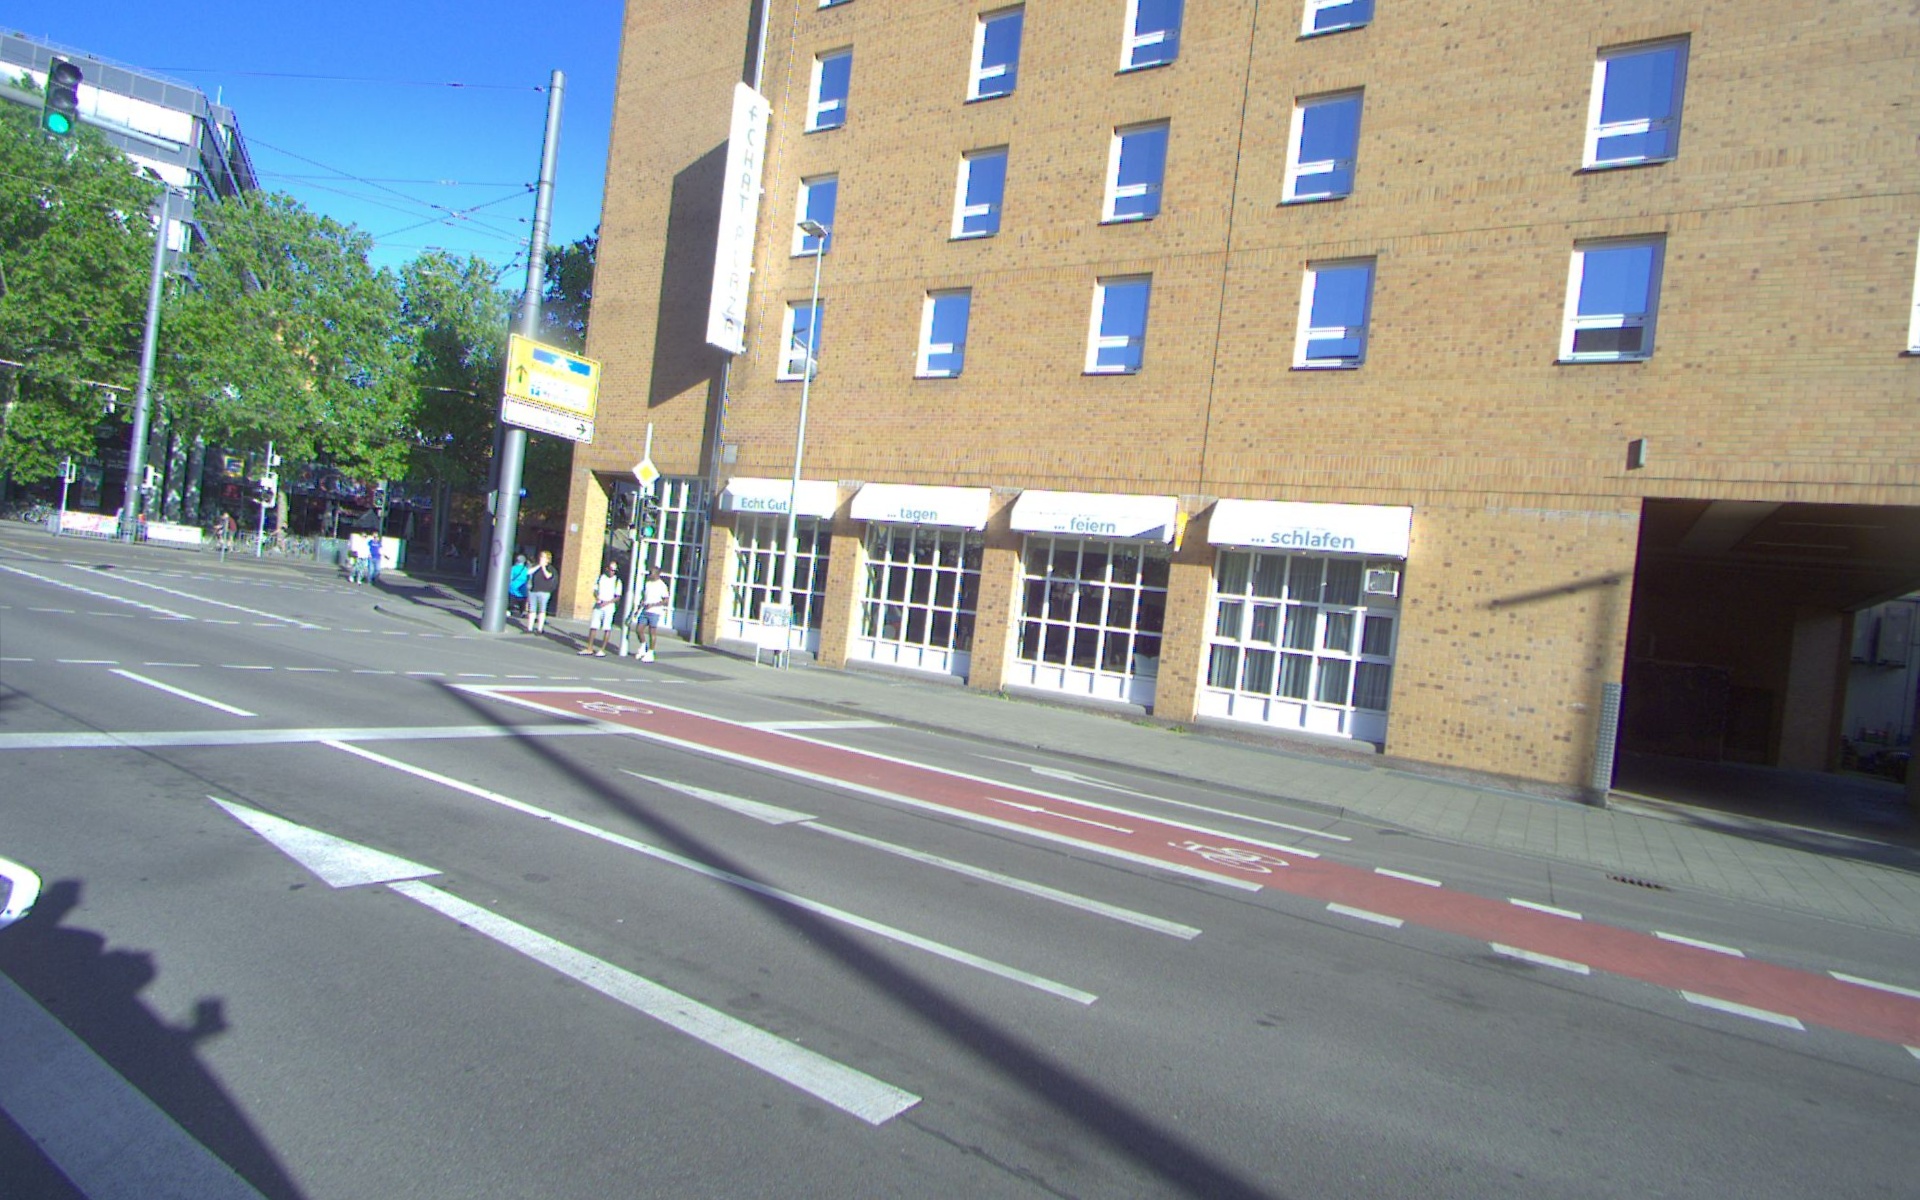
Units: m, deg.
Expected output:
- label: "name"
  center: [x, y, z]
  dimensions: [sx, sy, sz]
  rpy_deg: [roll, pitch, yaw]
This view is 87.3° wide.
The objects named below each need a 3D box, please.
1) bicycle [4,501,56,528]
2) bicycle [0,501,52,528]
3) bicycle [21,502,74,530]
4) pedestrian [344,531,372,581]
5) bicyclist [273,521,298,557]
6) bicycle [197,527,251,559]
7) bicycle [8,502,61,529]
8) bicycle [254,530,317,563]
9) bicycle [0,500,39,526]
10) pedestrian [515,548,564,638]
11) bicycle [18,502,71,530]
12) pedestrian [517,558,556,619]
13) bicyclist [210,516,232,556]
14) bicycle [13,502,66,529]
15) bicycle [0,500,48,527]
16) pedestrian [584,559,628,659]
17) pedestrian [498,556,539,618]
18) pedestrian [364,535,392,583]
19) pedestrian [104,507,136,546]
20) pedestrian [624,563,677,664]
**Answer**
- label: "bicycle"
  center: [-48.322, -4.418, 52.294]
  dimensions: [0.354, 1.058, 1.884]
  rpy_deg: [6, -2, 31]
- label: "bicycle"
  center: [-48.744, -4.475, 52.511]
  dimensions: [0.354, 1.058, 1.885]
  rpy_deg: [7, -2, 31]
- label: "bicycle"
  center: [-46.044, -4.227, 50.776]
  dimensions: [0.354, 1.058, 1.884]
  rpy_deg: [6, -2, 31]
- label: "pedestrian"
  center: [-19.702, -1.449, 32.913]
  dimensions: [0.563, 1.550, 0.695]
  rpy_deg: [8, -2, -37]
- label: "bicyclist"
  center: [-31.420, -2.842, 46.853]
  dimensions: [0.557, 1.536, 0.633]
  rpy_deg: [6, -1, 30]
- label: "bicycle"
  center: [-36.290, -2.808, 49.625]
  dimensions: [0.414, 1.228, 2.046]
  rpy_deg: [6, -2, 32]
- label: "bicycle"
  center: [-47.790, -4.363, 51.976]
  dimensions: [0.354, 1.058, 1.884]
  rpy_deg: [7, -2, 31]
- label: "bicycle"
  center: [-31.417, -2.480, 46.907]
  dimensions: [0.558, 1.191, 2.328]
  rpy_deg: [6, -3, 29]
- label: "bicycle"
  center: [-50.158, -4.639, 53.294]
  dimensions: [0.354, 1.058, 1.885]
  rpy_deg: [7, -2, 31]
- label: "pedestrian"
  center: [-8.954, -0.143, 21.459]
  dimensions: [0.726, 1.813, 0.510]
  rpy_deg: [7, -1, -19]
- label: "bicycle"
  center: [-46.650, -4.272, 51.260]
  dimensions: [0.354, 1.058, 1.884]
  rpy_deg: [6, -2, 31]
- label: "pedestrian"
  center: [-10.860, -0.284, 25.828]
  dimensions: [0.543, 1.495, 0.593]
  rpy_deg: [6, 0, 32]
- label: "bicyclist"
  center: [-36.343, -3.135, 49.503]
  dimensions: [0.396, 1.859, 0.585]
  rpy_deg: [6, -1, 31]
- label: "bicycle"
  center: [-47.305, -4.323, 51.723]
  dimensions: [0.354, 1.058, 1.884]
  rpy_deg: [6, -2, 31]
- label: "bicycle"
  center: [-49.181, -4.529, 52.733]
  dimensions: [0.354, 1.058, 1.885]
  rpy_deg: [7, -2, 31]
- label: "pedestrian"
  center: [-6.693, 0.167, 19.028]
  dimensions: [0.587, 1.804, 0.677]
  rpy_deg: [4, 3, -27]
- label: "pedestrian"
  center: [-11.057, -0.328, 25.174]
  dimensions: [0.591, 1.470, 0.593]
  rpy_deg: [6, 0, 32]
- label: "pedestrian"
  center: [-19.306, -1.357, 33.355]
  dimensions: [0.563, 1.496, 0.695]
  rpy_deg: [8, -2, -37]
- label: "pedestrian"
  center: [-40.681, -3.542, 48.733]
  dimensions: [0.747, 1.724, 0.834]
  rpy_deg: [6, -1, 32]
- label: "pedestrian"
  center: [-5.830, 0.258, 18.971]
  dimensions: [0.583, 1.802, 0.682]
  rpy_deg: [6, 0, 6]
